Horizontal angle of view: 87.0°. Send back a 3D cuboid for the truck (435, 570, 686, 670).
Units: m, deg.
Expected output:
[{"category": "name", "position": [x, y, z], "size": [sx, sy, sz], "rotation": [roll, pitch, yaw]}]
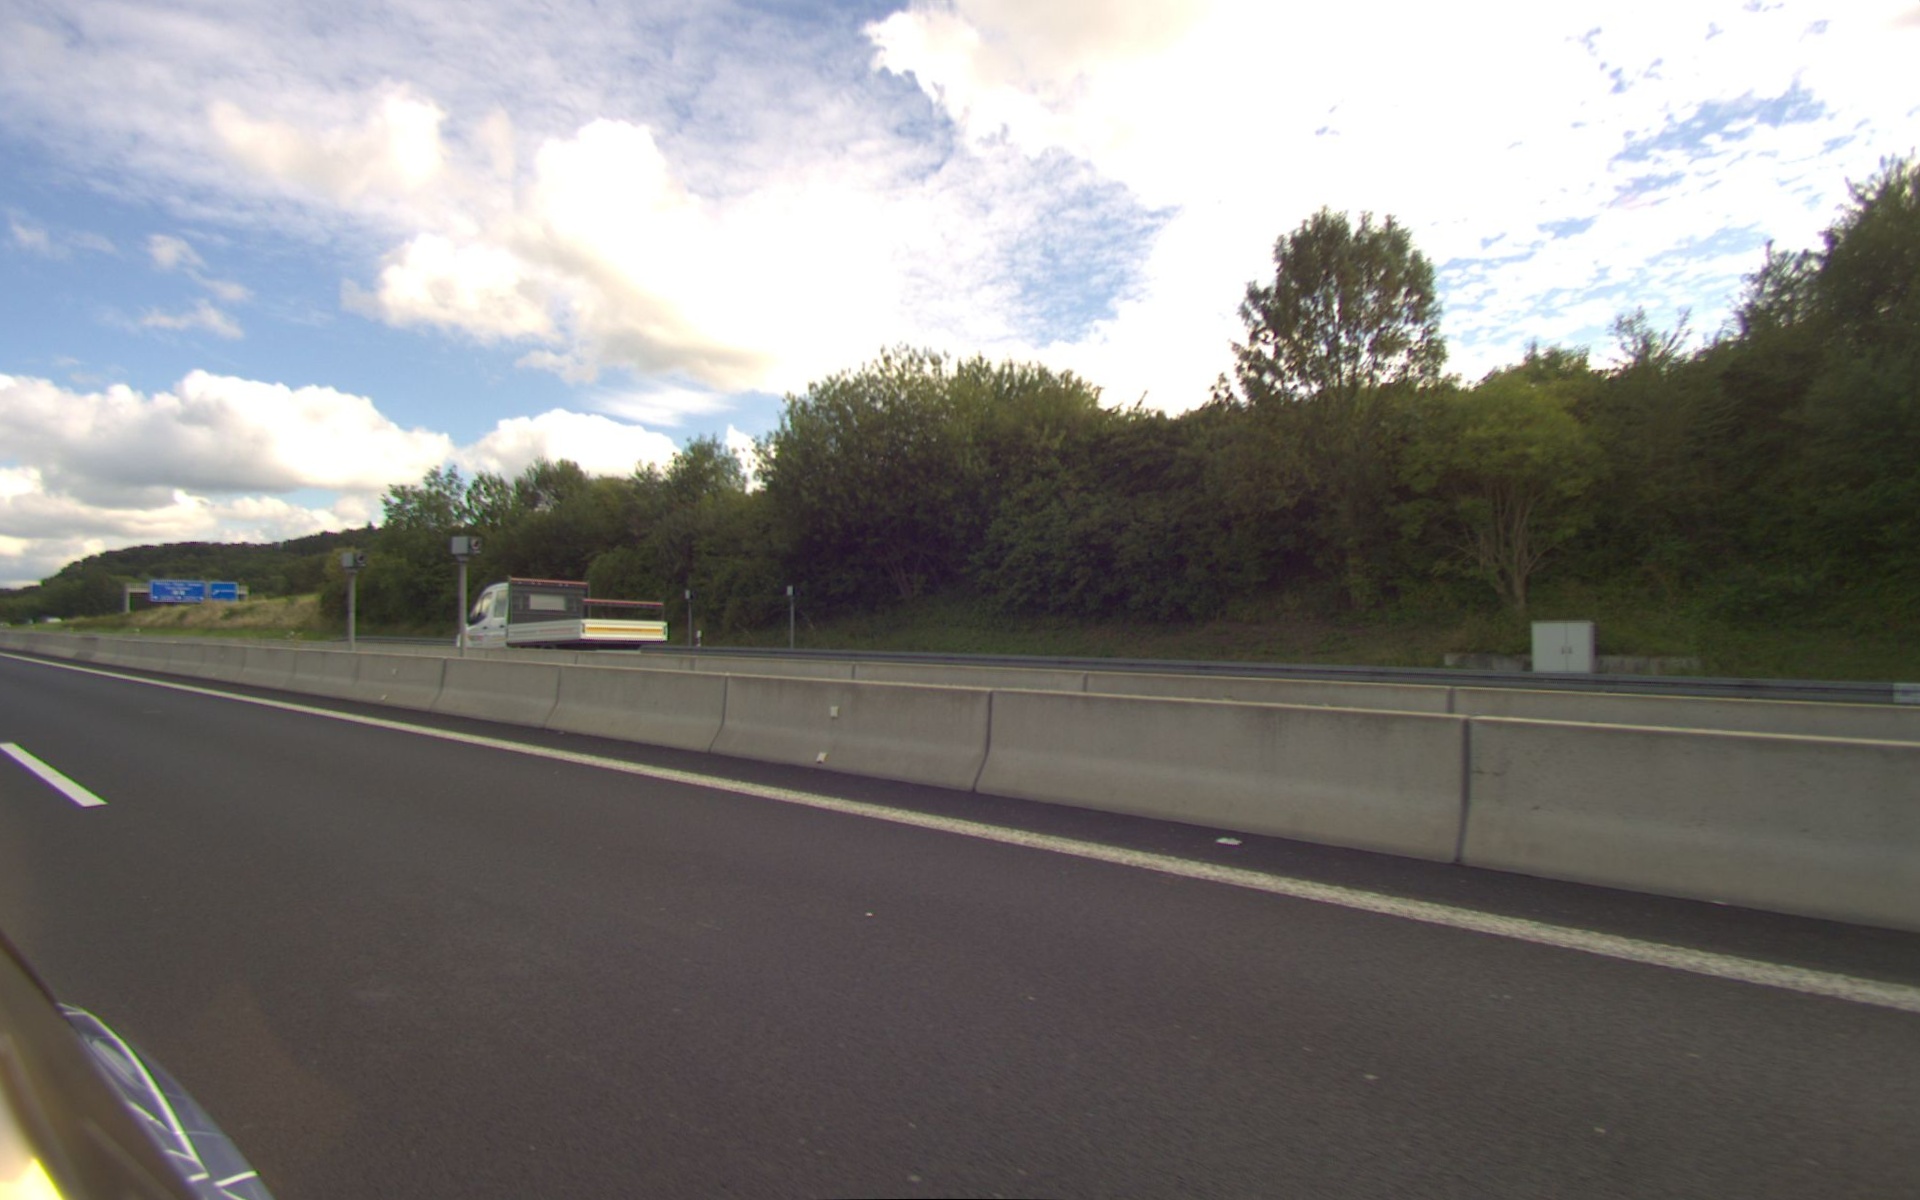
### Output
[{"category": "truck", "position": [-9.634, 0.502, 23.914], "size": [7.433, 2.029, 2.351], "rotation": [-1, -3, 41]}]
